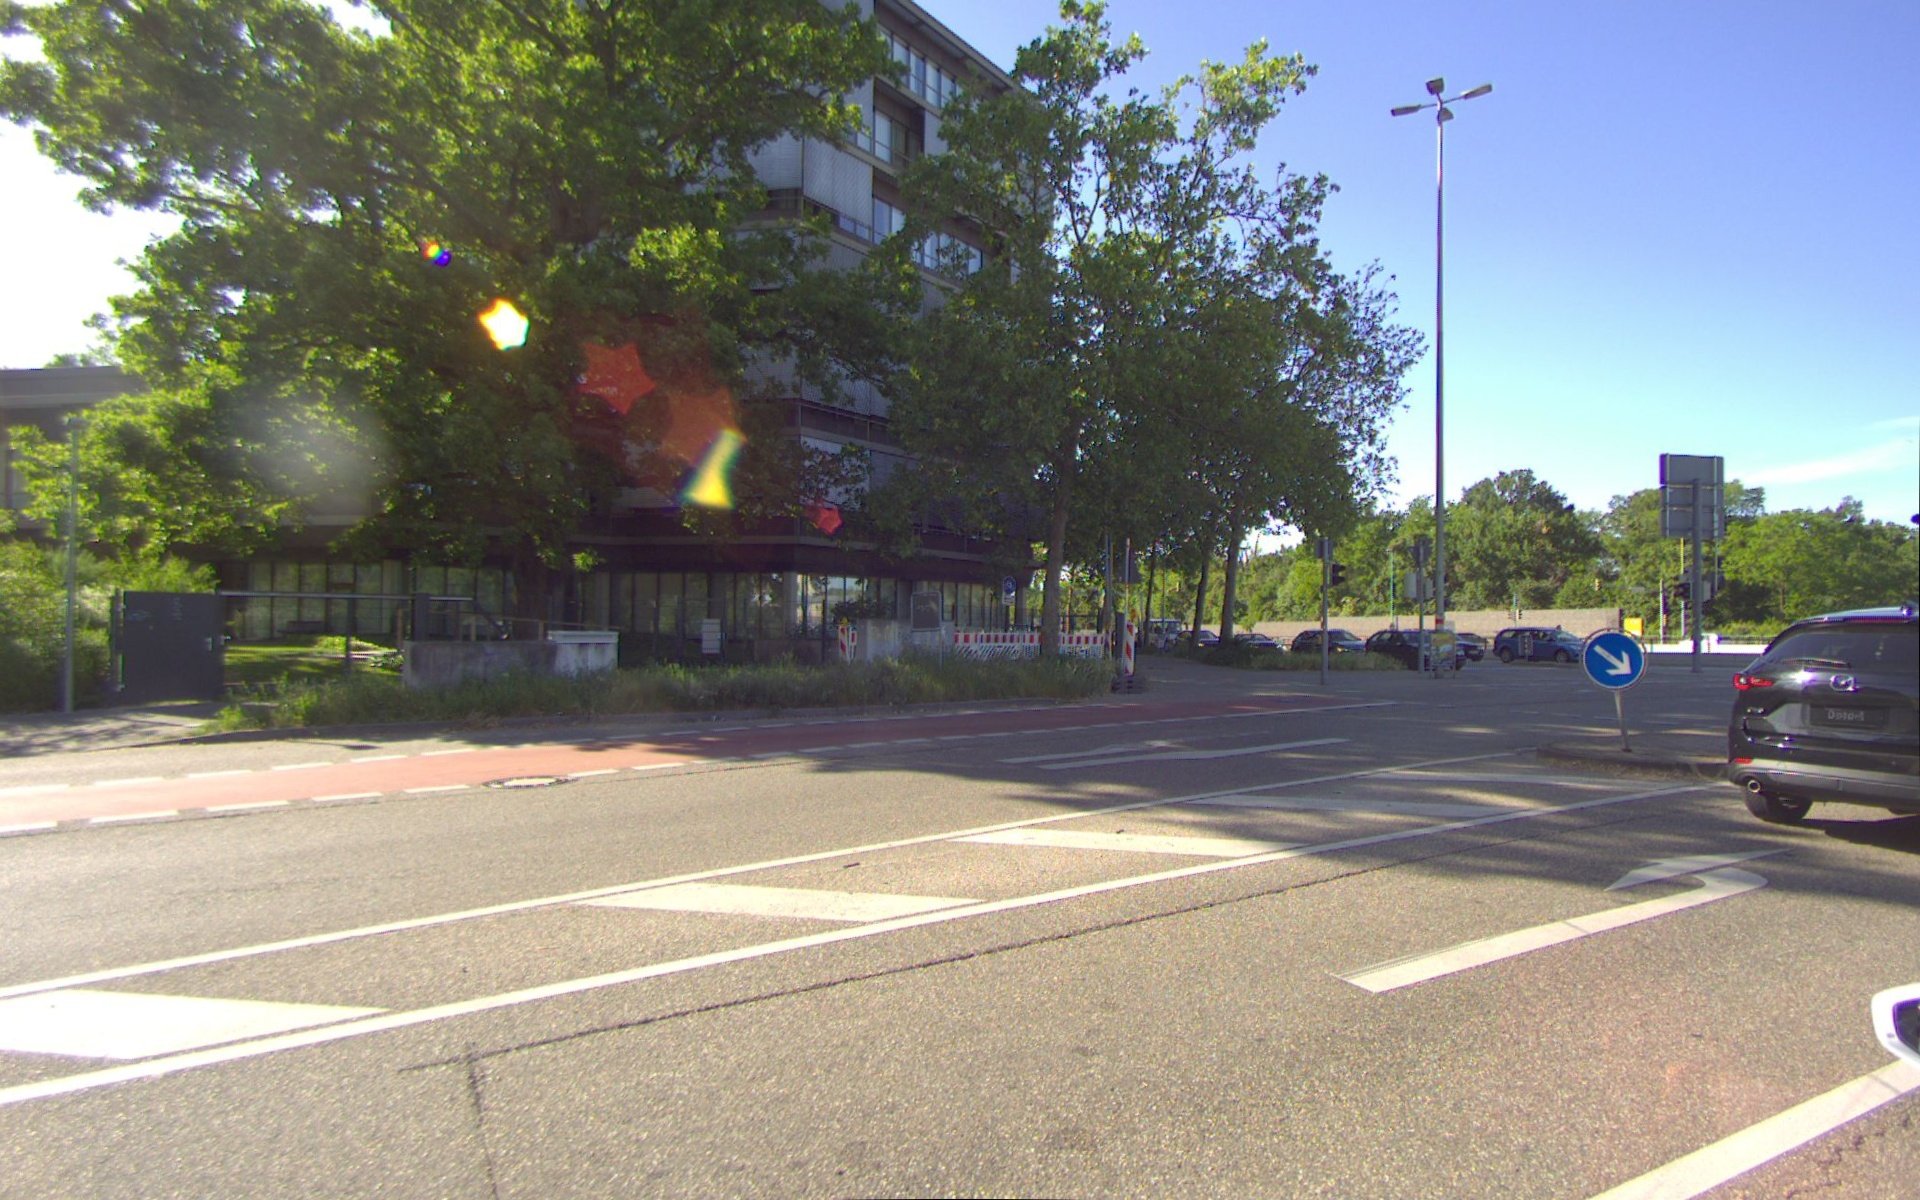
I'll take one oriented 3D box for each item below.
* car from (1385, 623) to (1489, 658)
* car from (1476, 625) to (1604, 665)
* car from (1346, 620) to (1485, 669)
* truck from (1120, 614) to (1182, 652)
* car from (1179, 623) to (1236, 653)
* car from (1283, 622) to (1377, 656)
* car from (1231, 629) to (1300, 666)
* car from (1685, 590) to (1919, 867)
[{"bbox_3d":[22.283,1.857,47.133,1.920,1.561,4.441,1,-1,-18],"label":"car"},{"bbox_3d":[24.097,1.826,41.907,1.922,1.561,4.437,1,-1,-20],"label":"car"},{"bbox_3d":[16.417,1.572,36.507,1.920,1.643,4.767,1,-1,-18],"label":"car"},{"bbox_3d":[12.634,2.173,66.946,2.123,2.391,7.510,0,-1,-5],"label":"truck"},{"bbox_3d":[14.372,2.174,58.520,1.844,1.666,4.506,0,-1,-5],"label":"car"},{"bbox_3d":[15.760,1.644,43.028,1.846,1.376,4.503,0,-1,-9],"label":"car"},{"bbox_3d":[15.438,2.371,50.974,1.781,1.722,4.192,0,-1,-7],"label":"car"},{"bbox_3d":[7.694,0.843,7.581,4.140,1.731,1.869,1,-1,-25],"label":"car"}]
